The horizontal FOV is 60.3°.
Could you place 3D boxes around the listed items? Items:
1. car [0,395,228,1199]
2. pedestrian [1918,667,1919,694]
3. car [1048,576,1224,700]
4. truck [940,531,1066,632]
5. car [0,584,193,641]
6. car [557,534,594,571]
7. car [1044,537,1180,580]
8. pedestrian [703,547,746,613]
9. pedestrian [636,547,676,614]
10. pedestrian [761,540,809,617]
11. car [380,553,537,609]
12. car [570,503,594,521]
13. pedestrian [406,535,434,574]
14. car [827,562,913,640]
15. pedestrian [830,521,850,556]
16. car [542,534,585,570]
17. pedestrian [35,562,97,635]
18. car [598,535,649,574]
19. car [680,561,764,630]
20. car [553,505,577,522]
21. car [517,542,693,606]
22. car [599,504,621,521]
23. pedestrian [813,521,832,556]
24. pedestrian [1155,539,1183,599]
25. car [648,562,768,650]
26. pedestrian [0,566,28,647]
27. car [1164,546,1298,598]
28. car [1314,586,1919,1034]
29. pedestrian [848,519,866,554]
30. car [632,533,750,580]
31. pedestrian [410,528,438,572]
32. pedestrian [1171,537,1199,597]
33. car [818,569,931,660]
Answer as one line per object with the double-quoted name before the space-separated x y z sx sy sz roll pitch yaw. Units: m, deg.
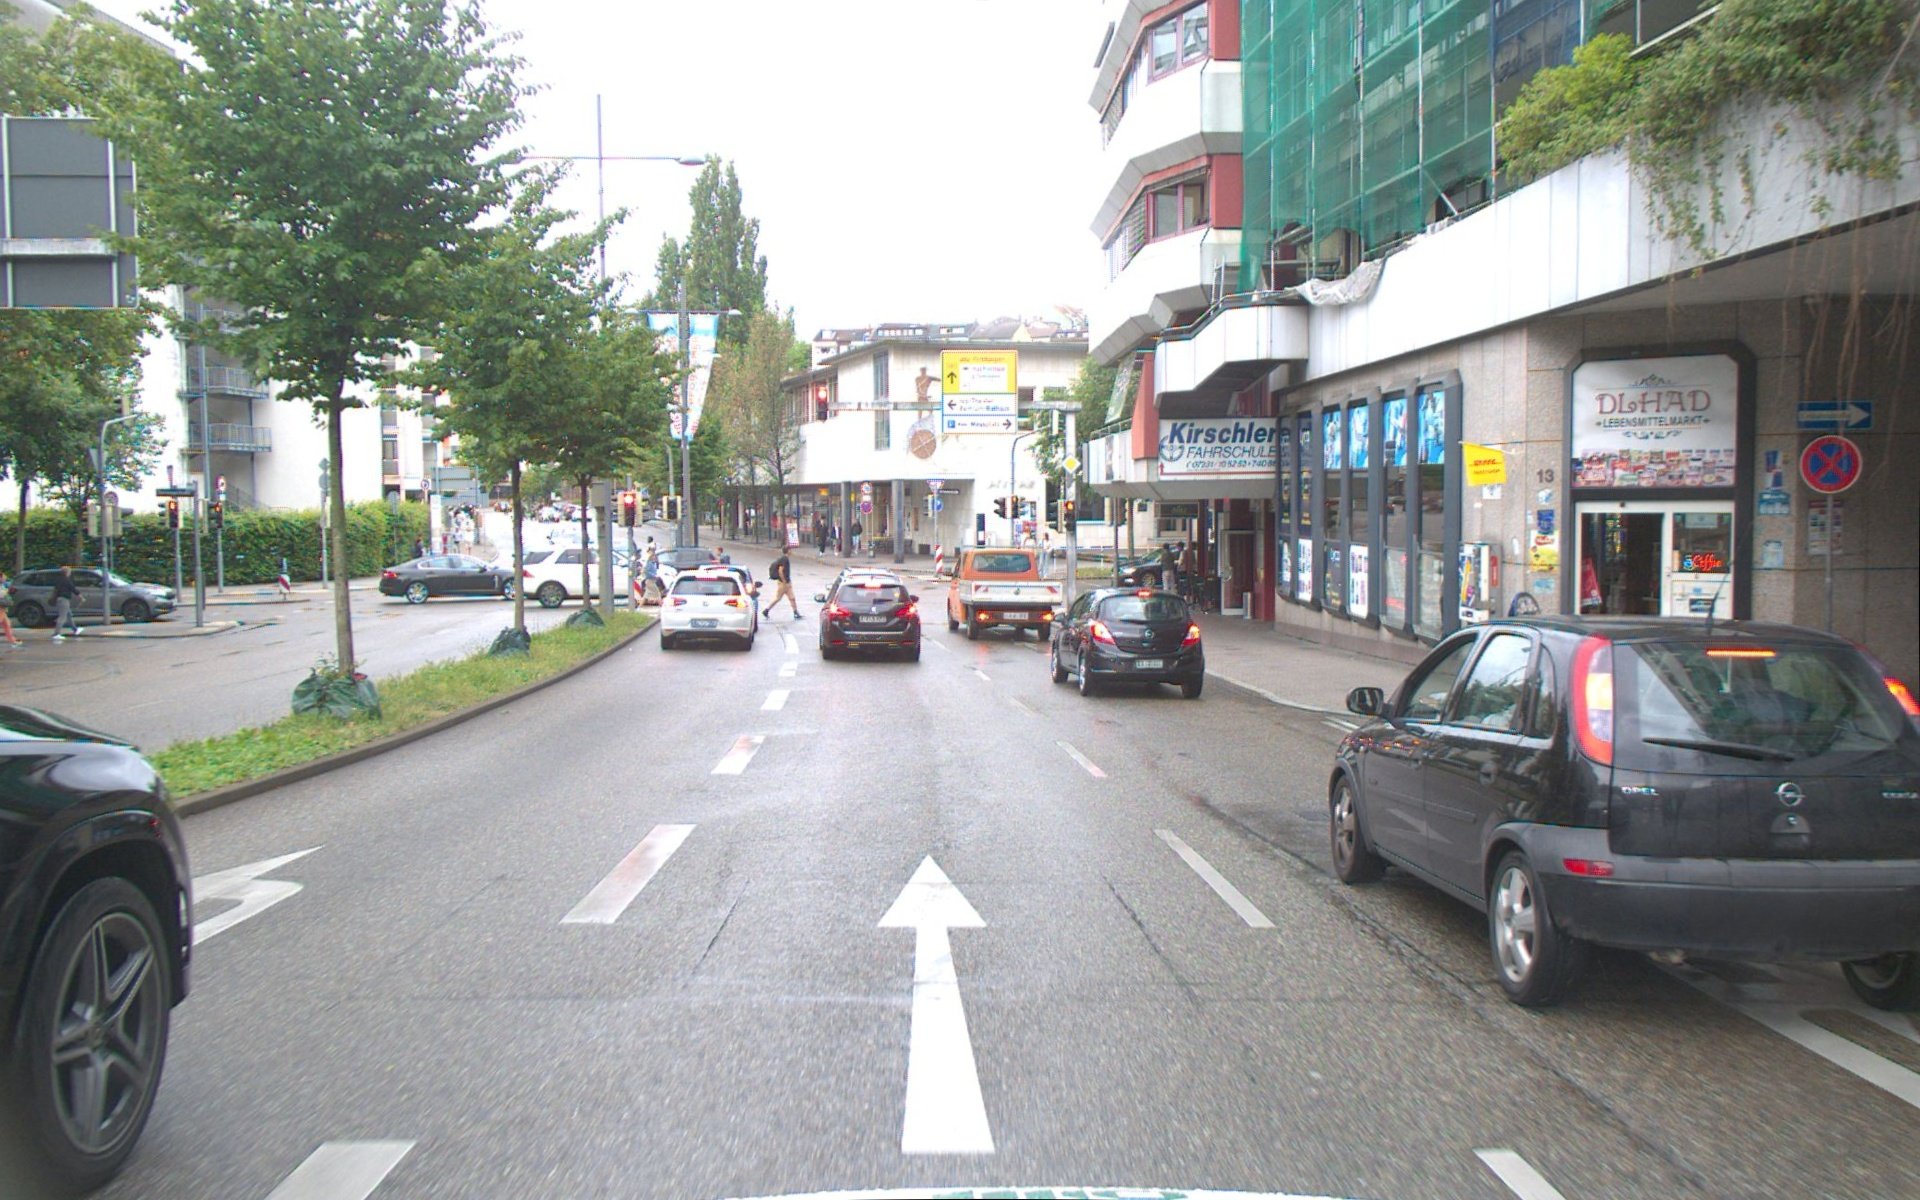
"car" -2.987 0.503 2.155 2.045 1.848 4.791 1 1 -2
"pedestrian" 11.396 0.265 18.542 0.704 1.750 0.769 0 8 -6
"car" 2.448 0.475 23.963 1.911 1.601 3.998 0 1 -3
"truck" 0.887 -0.459 37.702 2.142 2.118 5.596 -1 1 -6
"car" -23.809 0.335 45.638 4.515 1.508 1.934 0 1 -16
"car" -18.943 -2.325 81.598 1.675 1.750 3.989 -1 1 -12
"car" 5.297 -1.447 57.671 4.329 1.461 1.990 -1 1 -18
"pedestrian" -6.487 -0.558 45.581 0.989 1.752 0.838 -2 1 1
"pedestrian" -8.143 -0.522 44.293 0.818 1.752 0.819 -2 1 3
"pedestrian" -4.507 -0.560 42.556 1.041 1.914 0.839 -2 1 3
"car" -15.630 -0.572 51.646 4.609 1.672 1.778 0 1 -18
"car" -37.435 -8.712 163.800 1.963 1.623 3.979 -1 1 -19
"pedestrian" -22.873 -1.927 70.083 0.919 1.636 0.554 -3 1 -44
"car" -2.063 -0.020 36.874 1.727 1.569 3.996 0 2 -6
"pedestrian" -6.495 -3.315 89.324 0.833 1.834 1.051 -2 1 -17
"car" -17.924 -2.178 74.941 1.746 1.576 3.989 -1 1 -12
"pedestrian" -21.923 -0.029 40.565 0.796 1.738 1.053 -1 1 35
"car" -13.906 -1.871 68.502 1.786 1.576 3.994 -1 1 -8
"car" -5.494 -0.143 38.581 1.759 1.493 3.996 0 2 -6
"car" -40.890 -8.934 171.263 1.727 1.581 3.540 -1 1 -26
"car" -10.539 -0.756 49.009 4.988 1.789 1.992 0 1 -16
"car" -35.187 -8.794 166.350 1.803 1.616 3.856 -1 1 -17
"pedestrian" -7.426 -3.312 89.493 0.786 1.834 0.913 -2 1 -17
"pedestrian" 6.105 -0.905 48.324 0.566 1.729 0.648 -2 1 -13
"car" -4.890 0.060 32.583 1.911 1.601 3.998 0 1 -3
"pedestrian" -22.010 0.153 37.935 0.694 1.810 0.873 -1 1 41
"car" 9.117 -0.948 55.781 4.078 1.686 1.834 -1 1 -15
"car" 2.859 0.688 7.440 1.682 1.445 3.770 -1 1 -1
"pedestrian" -5.598 -3.455 89.789 0.691 1.834 0.934 -2 1 -17
"car" -9.285 -1.505 57.327 3.911 1.554 1.845 -1 1 -7
"pedestrian" -23.198 -2.167 71.570 0.899 1.834 0.617 -3 1 -44
"pedestrian" 6.640 -0.974 48.818 0.566 1.729 0.647 -2 1 -17
"car" -1.637 0.219 30.400 1.777 1.466 3.995 1 2 -7
